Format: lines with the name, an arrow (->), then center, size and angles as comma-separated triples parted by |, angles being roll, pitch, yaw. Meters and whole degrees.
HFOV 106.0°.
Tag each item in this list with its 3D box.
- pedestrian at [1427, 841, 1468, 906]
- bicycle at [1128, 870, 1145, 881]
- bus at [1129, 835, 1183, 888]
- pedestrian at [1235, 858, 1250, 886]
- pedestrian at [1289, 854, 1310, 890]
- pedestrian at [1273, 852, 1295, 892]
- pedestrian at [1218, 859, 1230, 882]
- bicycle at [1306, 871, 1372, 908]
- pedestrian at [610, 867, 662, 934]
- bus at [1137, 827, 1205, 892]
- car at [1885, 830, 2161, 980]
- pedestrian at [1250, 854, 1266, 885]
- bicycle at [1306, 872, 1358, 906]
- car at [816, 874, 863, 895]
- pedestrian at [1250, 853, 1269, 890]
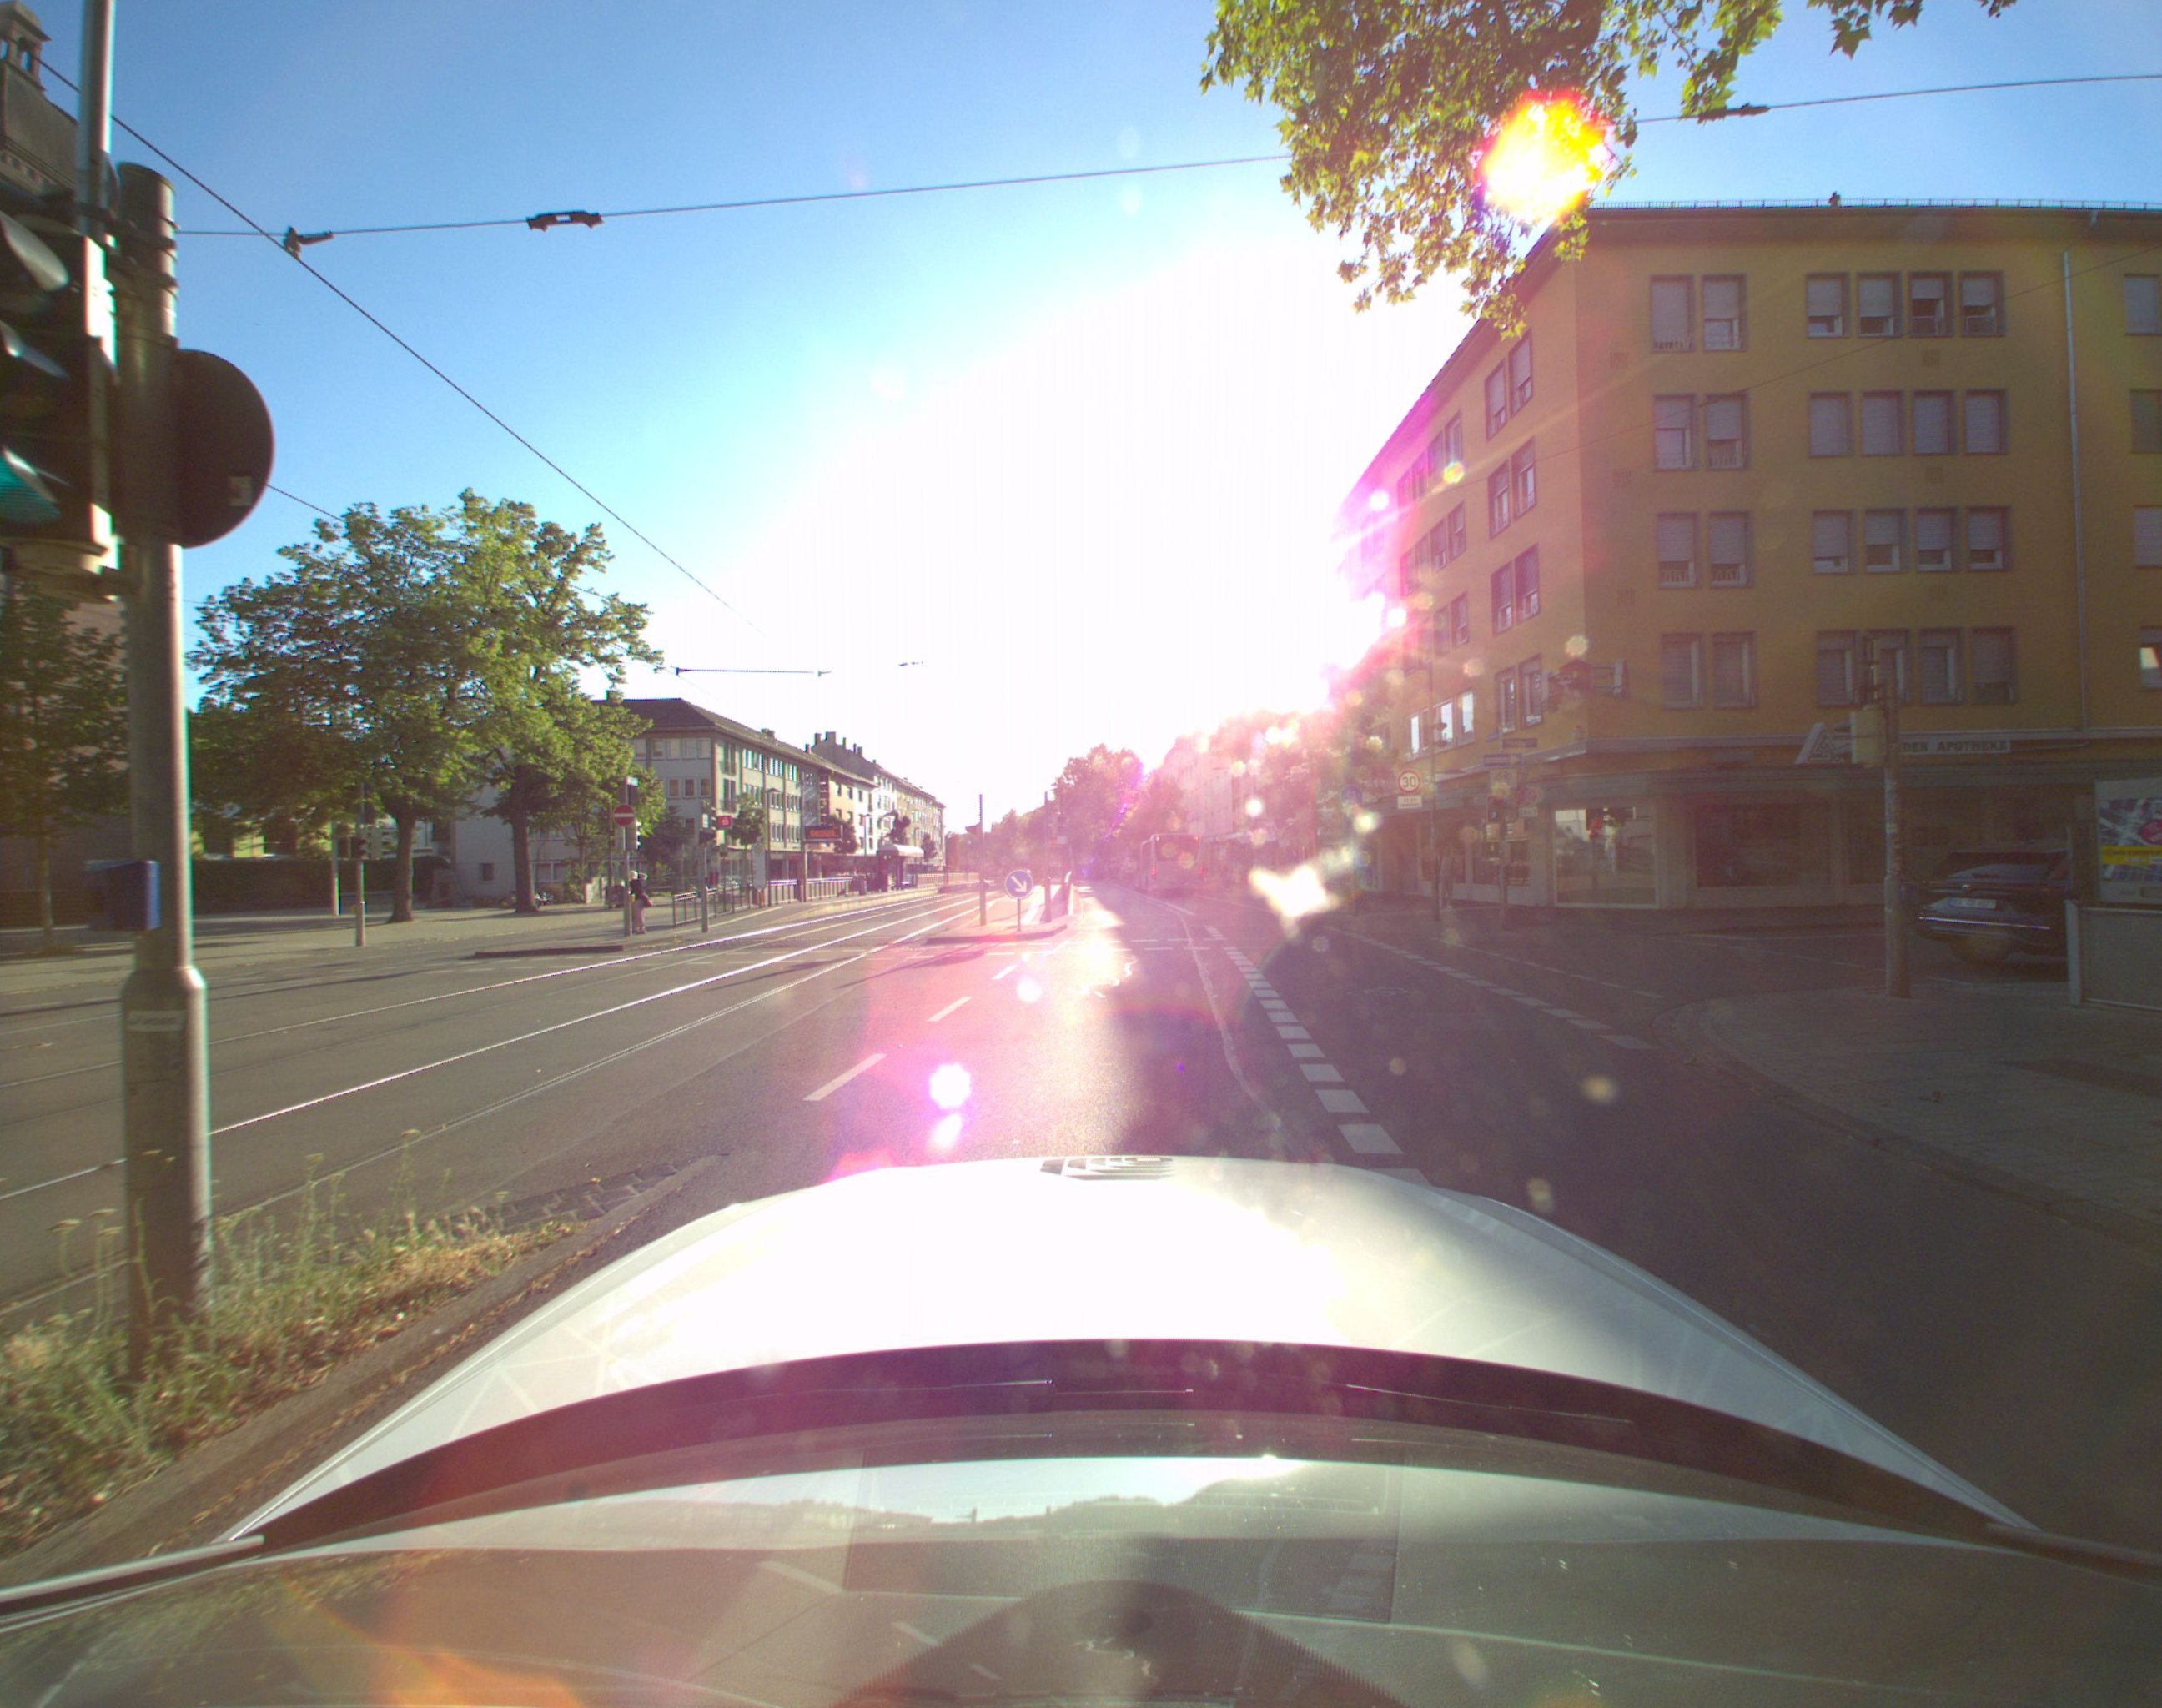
pedestrian -> 10.241, 0.543, 22.794 | 0.741, 1.780, 0.894 | 1, -2, -1
bicycle -> 6.481, 2.504, 94.778 | 1.879, 1.077, 0.755 | -5, -1, 2
bus -> 4.723, 0.506, 53.011 | 2.687, 3.118, 9.069 | 0, -1, 0
pedestrian -> 9.039, 1.004, 45.618 | 0.608, 1.578, 0.851 | -1, -1, 1
pedestrian -> 10.636, 0.873, 39.654 | 0.721, 1.723, 0.766 | -1, -1, -1
pedestrian -> 9.217, 0.813, 37.000 | 0.721, 1.807, 0.766 | -1, -1, -1
pedestrian -> 10.411, 1.207, 59.419 | 0.721, 1.632, 0.766 | -1, -1, -1
bicycle -> 7.933, 1.083, 25.055 | 1.794, 1.008, 0.540 | -3, -1, -4
pedestrian -> -12.090, 1.253, 22.144 | 0.916, 1.760, 0.832 | -1, -1, 1
bus -> 4.647, 0.350, 43.838 | 2.687, 3.118, 9.380 | 0, -1, 0
car -> 13.170, 0.558, 10.274 | 4.328, 1.686, 1.772 | -1, -1, -1
pedestrian -> 10.602, 0.934, 48.820 | 0.721, 1.840, 0.766 | -1, -2, -1
bicycle -> 7.924, 1.105, 25.711 | 1.479, 1.008, 0.453 | -1, -1, -4
car -> -20.978, 2.601, 70.875 | 1.748, 1.679, 3.533 | -2, -1, 36
pedestrian -> 8.954, 0.881, 40.802 | 0.721, 1.779, 0.766 | -1, -1, -1
